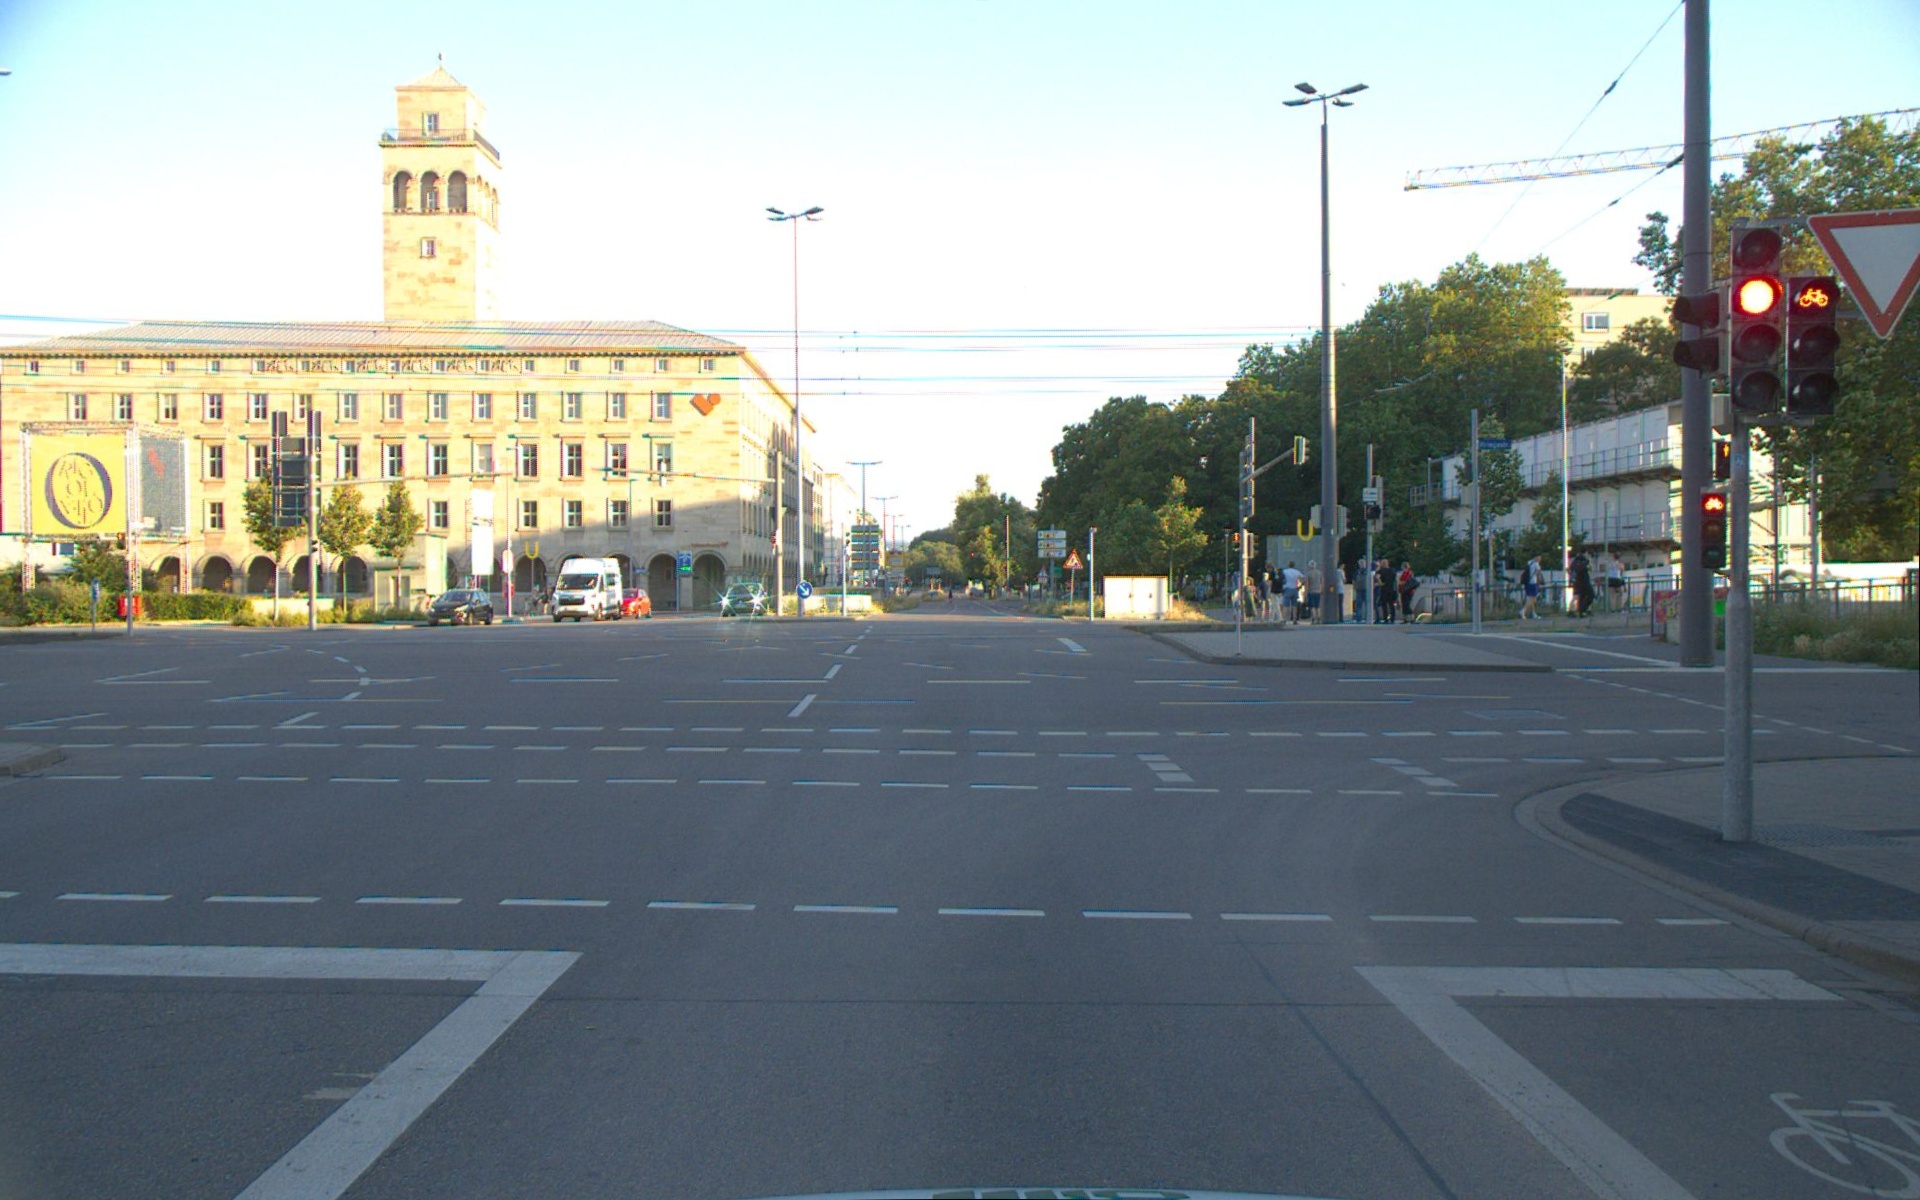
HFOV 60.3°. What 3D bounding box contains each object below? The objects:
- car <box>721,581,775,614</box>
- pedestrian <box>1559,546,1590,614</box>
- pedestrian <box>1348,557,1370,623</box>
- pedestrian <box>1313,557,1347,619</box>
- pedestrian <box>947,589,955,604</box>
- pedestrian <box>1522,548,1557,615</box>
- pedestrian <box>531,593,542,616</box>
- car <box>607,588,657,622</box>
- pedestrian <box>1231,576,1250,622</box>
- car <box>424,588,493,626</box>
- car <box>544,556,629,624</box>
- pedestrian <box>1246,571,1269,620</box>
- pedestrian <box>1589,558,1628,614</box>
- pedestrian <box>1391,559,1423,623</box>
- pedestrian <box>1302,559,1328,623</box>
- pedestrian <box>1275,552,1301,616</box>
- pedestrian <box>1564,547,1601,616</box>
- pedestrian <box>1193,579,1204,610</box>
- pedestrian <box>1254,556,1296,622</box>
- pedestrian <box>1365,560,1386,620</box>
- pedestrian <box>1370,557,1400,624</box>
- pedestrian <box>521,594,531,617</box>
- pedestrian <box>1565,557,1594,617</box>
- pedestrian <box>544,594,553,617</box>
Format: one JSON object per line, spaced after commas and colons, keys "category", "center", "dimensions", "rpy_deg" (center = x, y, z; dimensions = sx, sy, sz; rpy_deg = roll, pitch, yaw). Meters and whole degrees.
{"category": "car", "center": [-9.253, -0.125, 72.487], "dimensions": [1.785, 1.365, 4.001], "rpy_deg": [0, 1, 1]}
{"category": "pedestrian", "center": [16.105, -0.517, 43.366], "dimensions": [0.696, 1.755, 0.669], "rpy_deg": [0, 1, 16]}
{"category": "pedestrian", "center": [11.056, -0.284, 45.834], "dimensions": [0.560, 1.822, 0.639], "rpy_deg": [0, 1, 13]}
{"category": "pedestrian", "center": [10.472, -0.338, 46.828], "dimensions": [0.892, 1.755, 0.714], "rpy_deg": [0, 1, 9]}
{"category": "pedestrian", "center": [-1.027, -0.442, 194.725], "dimensions": [0.888, 1.700, 1.306], "rpy_deg": [-1, 1, -2]}
{"category": "pedestrian", "center": [15.440, -0.499, 44.090], "dimensions": [0.653, 1.755, 0.713], "rpy_deg": [-1, 1, -2]}
{"category": "pedestrian", "center": [-24.503, 0.238, 95.774], "dimensions": [0.496, 1.323, 0.700], "rpy_deg": [1, -1, -6]}
{"category": "car", "center": [-16.020, 0.225, 80.935], "dimensions": [1.703, 1.513, 4.000], "rpy_deg": [-1, 1, -1]}
{"category": "pedestrian", "center": [10.350, -0.034, 61.003], "dimensions": [0.548, 1.683, 0.902], "rpy_deg": [0, 1, 20]}
{"category": "car", "center": [-21.164, 0.262, 69.964], "dimensions": [1.786, 1.491, 4.156], "rpy_deg": [-1, 1, -2]}
{"category": "car", "center": [-16.242, -0.462, 72.232], "dimensions": [2.232, 2.824, 6.085], "rpy_deg": [-1, 1, 1]}
{"category": "pedestrian", "center": [10.937, -0.159, 60.795], "dimensions": [0.665, 1.788, 0.902], "rpy_deg": [0, 1, 20]}
{"category": "pedestrian", "center": [17.195, -0.369, 43.863], "dimensions": [0.701, 1.466, 0.674], "rpy_deg": [-1, 0, -20]}
{"category": "pedestrian", "center": [12.490, -0.261, 46.237], "dimensions": [0.826, 1.764, 0.706], "rpy_deg": [0, 1, 11]}
{"category": "pedestrian", "center": [9.830, -0.264, 45.814], "dimensions": [0.695, 1.755, 0.669], "rpy_deg": [0, 1, 13]}
{"category": "pedestrian", "center": [9.131, -0.443, 46.035], "dimensions": [0.695, 1.755, 0.669], "rpy_deg": [0, 1, 11]}
{"category": "pedestrian", "center": [15.953, -0.482, 42.391], "dimensions": [0.653, 1.755, 0.712], "rpy_deg": [-1, 1, -6]}
{"category": "pedestrian", "center": [13.730, -0.337, 95.281], "dimensions": [0.628, 1.791, 0.525], "rpy_deg": [0, 1, 7]}
{"category": "pedestrian", "center": [8.477, -0.292, 44.540], "dimensions": [0.897, 1.755, 0.710], "rpy_deg": [0, 1, 39]}
{"category": "pedestrian", "center": [11.891, -0.278, 47.307], "dimensions": [0.560, 1.708, 0.639], "rpy_deg": [0, 1, 13]}
{"category": "pedestrian", "center": [11.770, -0.263, 45.824], "dimensions": [0.788, 1.822, 0.801], "rpy_deg": [0, 1, 13]}
{"category": "pedestrian", "center": [-25.127, 0.316, 95.835], "dimensions": [0.465, 1.323, 0.463], "rpy_deg": [1, -1, -6]}
{"category": "pedestrian", "center": [16.857, -0.365, 45.022], "dimensions": [0.559, 1.620, 0.536], "rpy_deg": [-1, 0, -1]}
{"category": "pedestrian", "center": [-23.719, 0.334, 95.372], "dimensions": [0.412, 1.323, 0.459], "rpy_deg": [1, -1, -6]}
